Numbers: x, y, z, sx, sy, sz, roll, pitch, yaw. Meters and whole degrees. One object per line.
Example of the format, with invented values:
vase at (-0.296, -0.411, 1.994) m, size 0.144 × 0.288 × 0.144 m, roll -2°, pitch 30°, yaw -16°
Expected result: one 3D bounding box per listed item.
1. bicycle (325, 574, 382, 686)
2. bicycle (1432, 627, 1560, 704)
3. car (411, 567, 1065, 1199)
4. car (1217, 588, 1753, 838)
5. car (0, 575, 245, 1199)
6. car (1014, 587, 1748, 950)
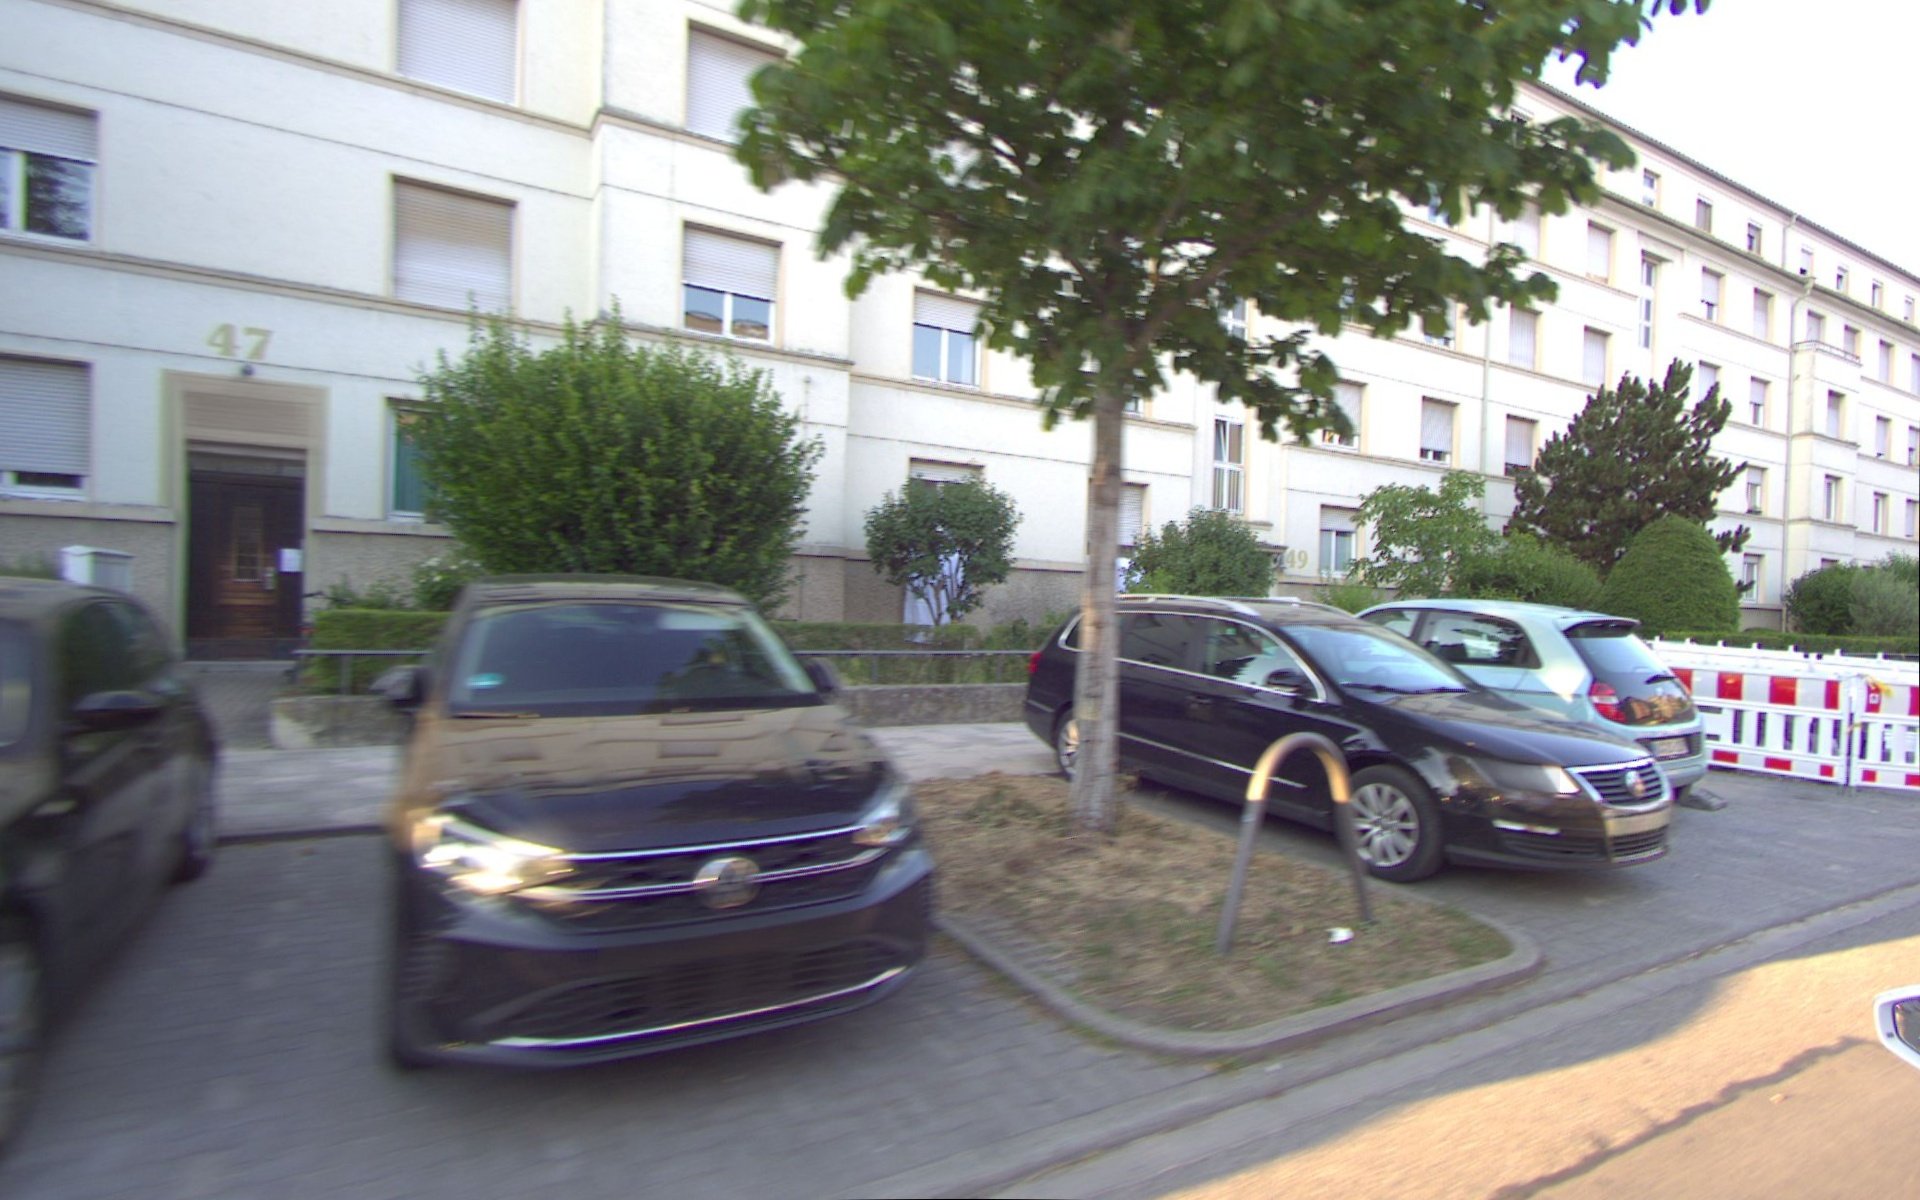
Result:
bicycle at (-7.761, 0.348, 12.819) m, size 0.439 × 1.336 × 1.877 m, roll 1°, pitch 0°, yaw -36°
bicycle at (9.611, 1.142, 18.102) m, size 0.534 × 1.202 × 2.019 m, roll 2°, pitch 1°, yaw -29°
car at (-1.387, 0.672, 4.431) m, size 1.706 × 1.504 × 4.015 m, roll 2°, pitch 2°, yaw -28°
car at (4.138, 0.736, 8.547) m, size 1.706 × 1.504 × 3.684 m, roll 2°, pitch 2°, yaw -28°
car at (-3.493, 0.671, 3.068) m, size 1.587 × 1.403 × 3.826 m, roll 2°, pitch 2°, yaw -28°
car at (2.367, 0.763, 6.937) m, size 1.709 × 1.504 × 4.482 m, roll 1°, pitch 2°, yaw -31°
